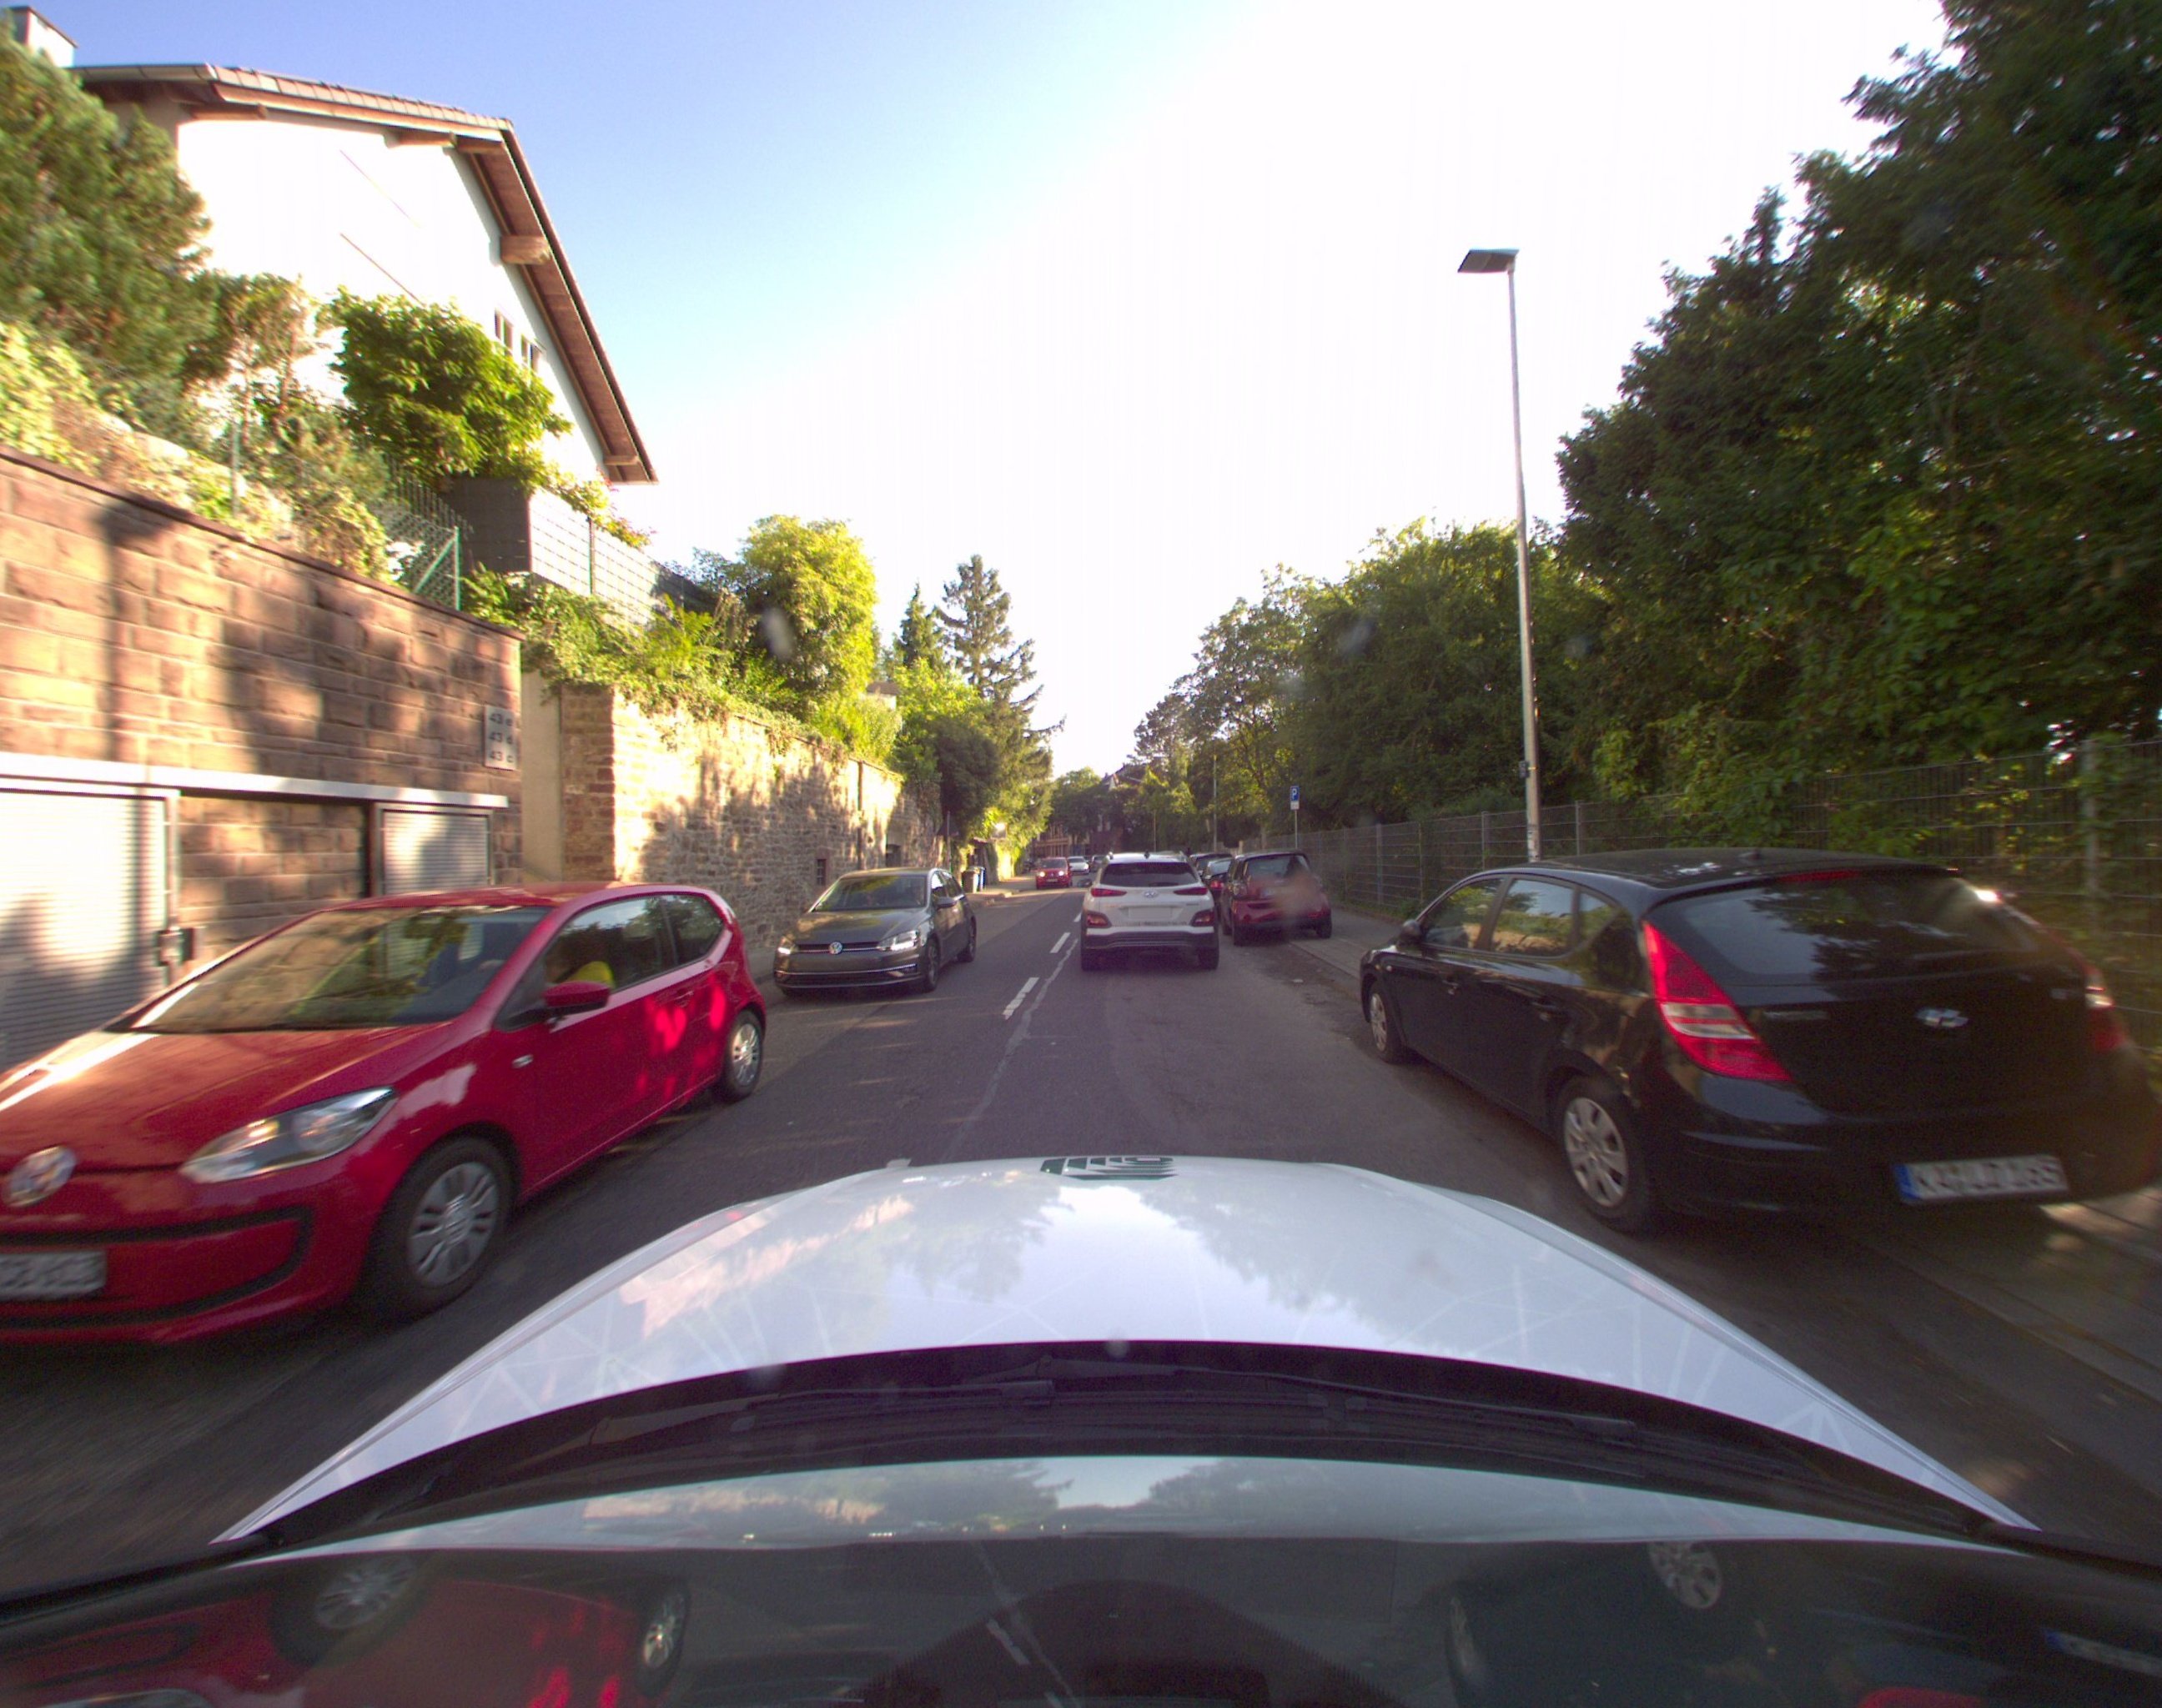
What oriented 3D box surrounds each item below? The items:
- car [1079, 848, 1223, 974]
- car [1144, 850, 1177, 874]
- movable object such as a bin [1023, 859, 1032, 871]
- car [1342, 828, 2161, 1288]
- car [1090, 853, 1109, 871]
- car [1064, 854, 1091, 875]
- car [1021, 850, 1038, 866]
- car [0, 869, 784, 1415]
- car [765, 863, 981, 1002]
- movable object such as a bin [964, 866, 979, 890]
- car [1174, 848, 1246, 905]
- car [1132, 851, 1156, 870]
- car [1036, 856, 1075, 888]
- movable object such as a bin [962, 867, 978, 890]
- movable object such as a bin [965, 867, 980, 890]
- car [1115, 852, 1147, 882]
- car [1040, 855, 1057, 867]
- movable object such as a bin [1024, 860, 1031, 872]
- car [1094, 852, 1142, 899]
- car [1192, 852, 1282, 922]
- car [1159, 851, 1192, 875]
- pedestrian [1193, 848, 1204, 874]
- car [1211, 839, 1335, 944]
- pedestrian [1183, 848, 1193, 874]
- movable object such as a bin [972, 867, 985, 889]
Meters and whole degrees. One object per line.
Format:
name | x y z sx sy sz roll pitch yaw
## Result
car | 0.987 0.714 12.095 1.764 1.542 4.004 0 0 3
car | 5.698 0.564 58.801 1.591 1.565 3.992 -3 0 -5
movable object such as a bin | -5.359 1.100 81.619 0.789 1.189 0.773 0 -1 1
car | 2.943 0.650 4.598 1.787 1.441 4.003 -2 0 2
car | 1.653 0.688 74.756 1.585 1.582 3.359 -1 0 -1
car | -0.251 0.794 64.861 1.734 1.474 4.004 -5 -1 3
car | -8.716 0.730 138.606 1.933 2.583 4.370 -2 0 -16
car | -2.987 0.843 4.036 1.621 1.422 3.563 -2 0 1
car | -2.468 0.862 10.674 1.643 1.411 3.933 -2 0 2
movable object such as a bin | -4.579 1.005 34.171 0.571 0.985 0.438 0 -1 0
car | 3.849 0.633 24.763 1.620 1.509 2.902 -3 1 -1
car | 5.353 0.524 69.809 1.589 1.489 3.600 -4 0 -2
car | -1.194 0.852 40.052 1.544 1.466 3.571 -3 0 3
movable object such as a bin | -4.593 1.028 33.712 0.581 0.937 0.438 0 -1 0
movable object such as a bin | -4.598 1.052 34.660 0.571 0.985 0.438 0 -1 0
car | 2.603 0.634 41.814 1.563 1.477 3.553 0 0 5
car | -4.898 1.021 121.321 1.758 1.616 3.981 0 0 -14
movable object such as a bin | -4.711 1.068 71.539 0.493 1.011 1.113 0 -1 3
car | 1.362 0.709 28.697 1.505 1.533 3.552 -1 0 5
car | 3.707 0.719 20.078 1.702 1.498 4.820 1 0 5
car | 6.138 0.567 53.170 1.681 1.431 4.000 -3 0 0
pedestrian | 7.304 0.408 50.589 0.501 1.569 0.504 -3 -1 3
car | 3.347 0.625 14.695 1.645 1.564 2.876 -6 -1 5
pedestrian | 6.666 0.424 50.604 0.501 1.606 0.491 -3 -1 3
movable object such as a bin | -4.444 1.038 35.250 0.488 0.964 0.583 0 0 0
